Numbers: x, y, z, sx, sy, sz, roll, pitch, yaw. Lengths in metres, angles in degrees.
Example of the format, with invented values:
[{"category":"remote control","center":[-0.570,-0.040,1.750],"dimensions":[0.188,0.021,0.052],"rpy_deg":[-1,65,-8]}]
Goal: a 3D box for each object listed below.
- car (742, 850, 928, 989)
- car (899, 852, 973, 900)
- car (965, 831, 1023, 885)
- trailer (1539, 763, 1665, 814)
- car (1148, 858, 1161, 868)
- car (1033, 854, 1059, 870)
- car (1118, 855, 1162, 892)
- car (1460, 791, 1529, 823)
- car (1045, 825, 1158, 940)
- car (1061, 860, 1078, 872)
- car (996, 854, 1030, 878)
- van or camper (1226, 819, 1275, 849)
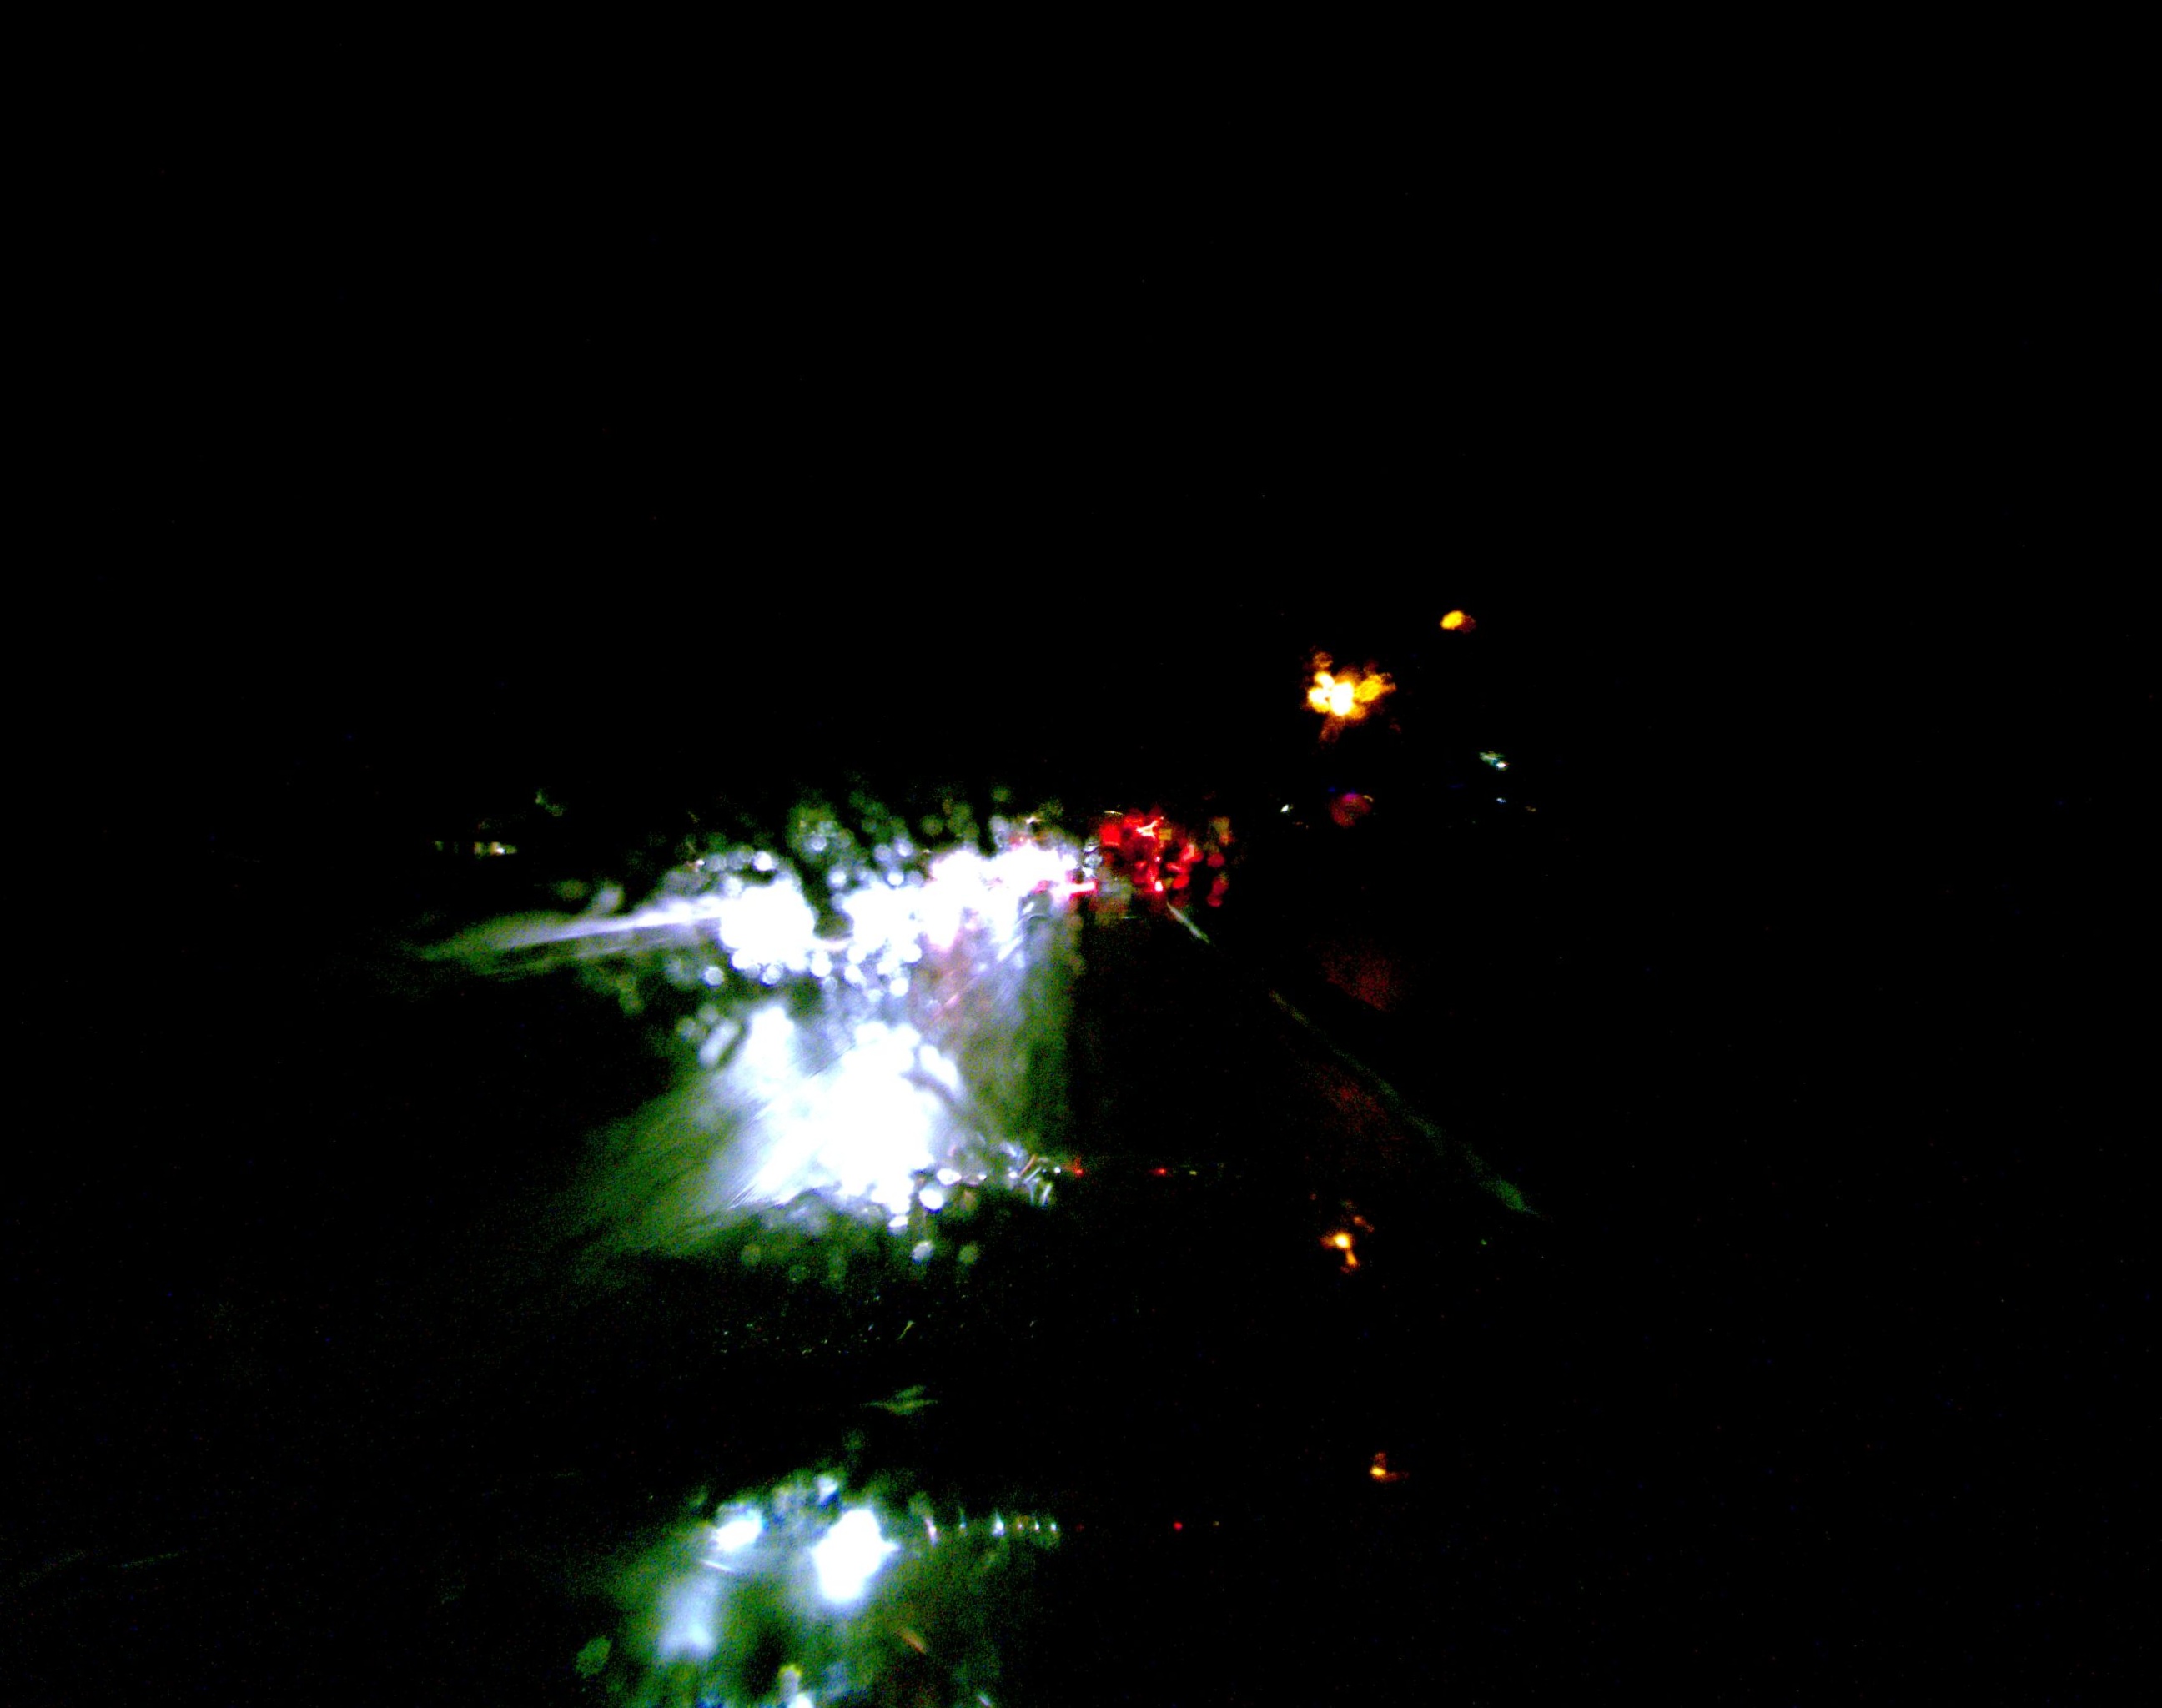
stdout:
[{"category":"car","center":[-3.339,0.776,11.920],"dimensions":[1.803,1.629,4.406],"rpy_deg":[0,0,-6]},{"category":"car","center":[-5.130,0.746,29.383],"dimensions":[1.713,1.588,4.314],"rpy_deg":[-1,0,2]},{"category":"car","center":[-4.576,0.199,43.679],"dimensions":[2.114,2.707,6.245],"rpy_deg":[-1,0,3]},{"category":"trailer","center":[26.483,-3.273,41.706],"dimensions":[2.225,2.072,5.703],"rpy_deg":[-1,-1,-9]},{"category":"car","center":[10.705,1.323,119.085],"dimensions":[1.654,1.450,4.059],"rpy_deg":[-1,-1,8]},{"category":"car","center":[-3.279,0.766,76.668],"dimensions":[2.069,1.449,4.994],"rpy_deg":[-1,0,2]},{"category":"car","center":[2.531,0.791,34.582],"dimensions":[1.759,1.450,4.224],"rpy_deg":[-1,0,5]},{"category":"car","center":[25.057,-2.830,49.480],"dimensions":[1.613,1.640,3.985],"rpy_deg":[-1,-1,-11]},{"category":"car","center":[0.410,0.491,16.232],"dimensions":[1.935,1.972,4.219],"rpy_deg":[-1,0,1]},{"category":"car","center":[-1.395,1.476,102.629],"dimensions":[1.911,1.444,4.547],"rpy_deg":[-1,0,2]},{"category":"car","center":[-4.640,0.785,55.917],"dimensions":[1.871,1.537,3.990],"rpy_deg":[-1,0,2]},{"category":"van or camper","center":[17.845,-2.083,85.939],"dimensions":[2.583,2.908,6.330],"rpy_deg":[-1,0,-13]}]
